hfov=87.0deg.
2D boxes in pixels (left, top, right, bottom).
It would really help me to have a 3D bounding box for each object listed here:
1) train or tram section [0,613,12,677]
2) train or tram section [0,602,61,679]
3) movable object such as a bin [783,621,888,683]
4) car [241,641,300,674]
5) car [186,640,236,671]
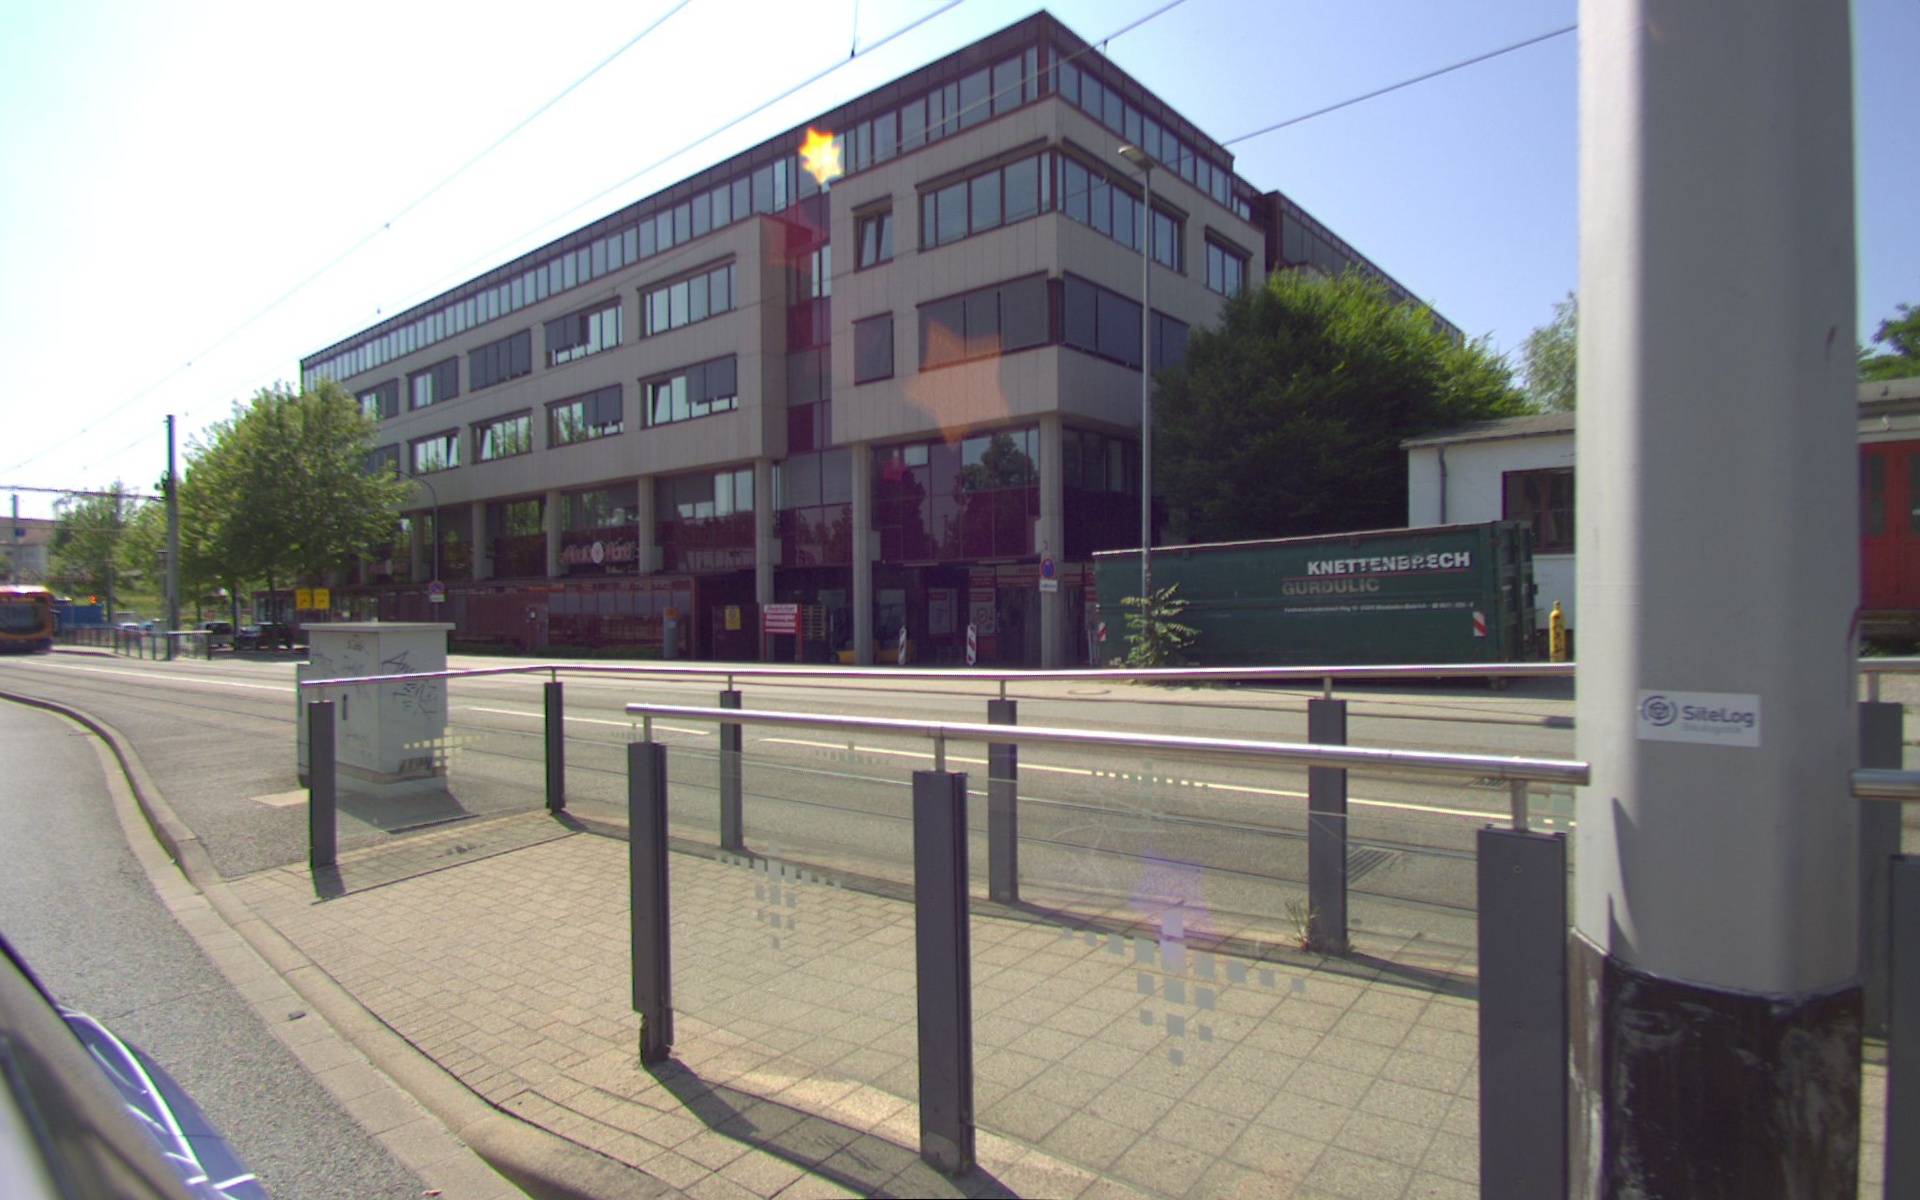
[{"bbox_3d":[-58.050,2.678,58.719,13.374,3.511,2.647,-2,-2,39],"label":"train or tram section"},{"bbox_3d":[-48.054,2.070,50.618,12.314,3.511,2.647,-2,-2,39],"label":"train or tram section"},{"bbox_3d":[-4.313,1.791,35.039,3.155,2.029,1.735,-2,-1,20],"label":"movable object such as a bin"},{"bbox_3d":[-36.351,3.005,53.310,1.970,1.635,4.003,1,-2,-43],"label":"car"},{"bbox_3d":[-42.591,3.125,57.530,1.844,1.630,4.003,1,-2,-43],"label":"car"}]
